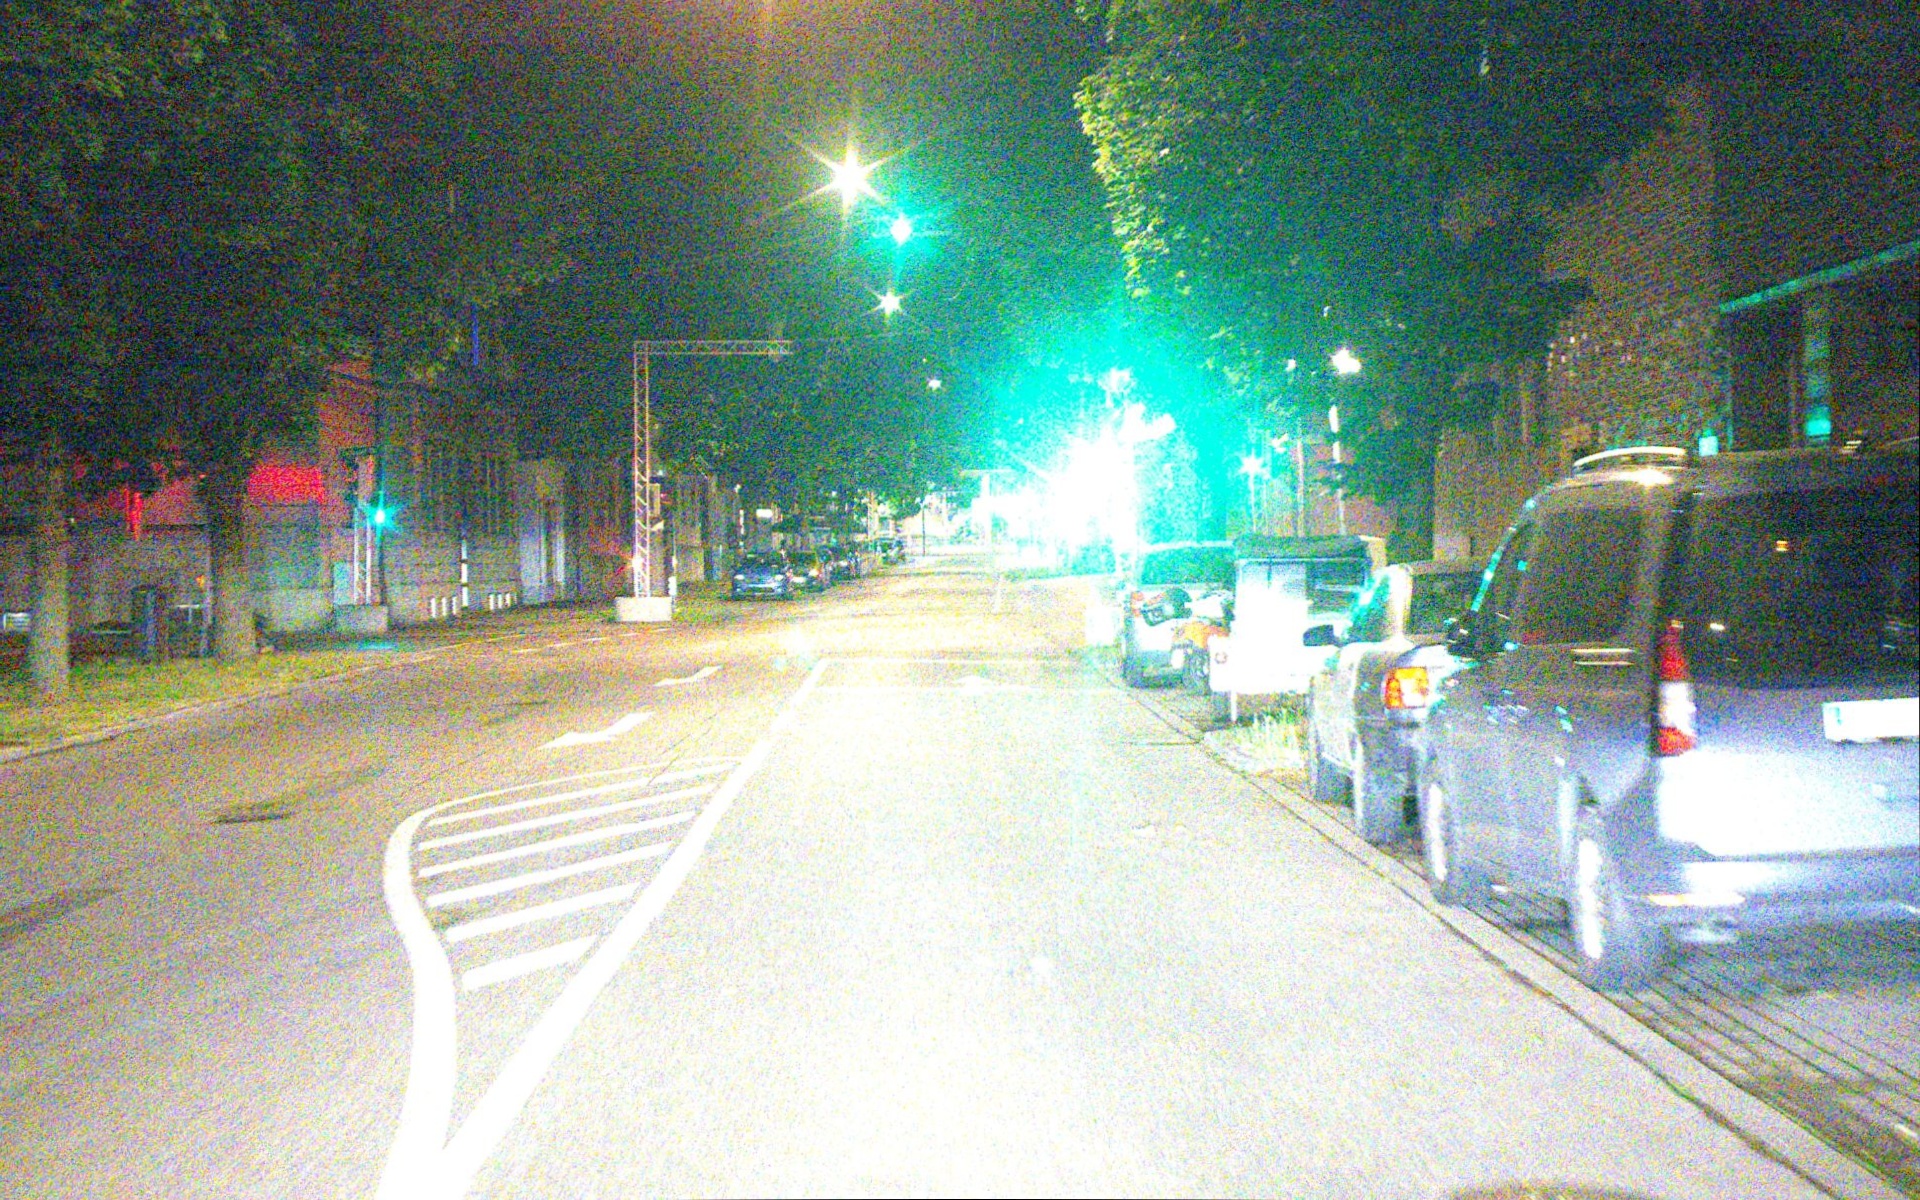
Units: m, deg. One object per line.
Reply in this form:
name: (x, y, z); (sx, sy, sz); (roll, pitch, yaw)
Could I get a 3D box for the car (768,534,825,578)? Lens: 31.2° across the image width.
car: (-5.517, -1.502, 116.382); (1.740, 1.411, 3.752); (0, 2, 0)

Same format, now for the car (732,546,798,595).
car: (-5.708, -0.882, 100.835); (1.740, 1.411, 3.752); (0, 1, 0)

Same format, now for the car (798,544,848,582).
car: (-5.172, -1.402, 130.171); (1.740, 1.411, 3.752); (0, 1, 0)

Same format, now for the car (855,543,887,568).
car: (-5.173, -2.586, 199.905); (1.740, 1.411, 3.752); (0, 1, 0)

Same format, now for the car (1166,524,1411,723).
car: (2.772, 0.146, 29.759); (1.591, 1.529, 4.138); (-3, 1, -1)

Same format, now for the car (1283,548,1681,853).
car: (2.706, 0.458, 18.589); (1.520, 1.391, 3.984); (-2, 1, 0)

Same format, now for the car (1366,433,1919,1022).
car: (2.808, 0.341, 12.922); (1.771, 1.800, 4.278); (-3, 1, -3)

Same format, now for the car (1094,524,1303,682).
car: (2.520, -0.013, 37.249); (1.853, 1.584, 4.301); (-1, 1, -1)

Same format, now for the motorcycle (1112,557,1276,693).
motorcycle: (2.300, 0.226, 33.529); (0.637, 1.265, 2.060); (0, 1, 34)
